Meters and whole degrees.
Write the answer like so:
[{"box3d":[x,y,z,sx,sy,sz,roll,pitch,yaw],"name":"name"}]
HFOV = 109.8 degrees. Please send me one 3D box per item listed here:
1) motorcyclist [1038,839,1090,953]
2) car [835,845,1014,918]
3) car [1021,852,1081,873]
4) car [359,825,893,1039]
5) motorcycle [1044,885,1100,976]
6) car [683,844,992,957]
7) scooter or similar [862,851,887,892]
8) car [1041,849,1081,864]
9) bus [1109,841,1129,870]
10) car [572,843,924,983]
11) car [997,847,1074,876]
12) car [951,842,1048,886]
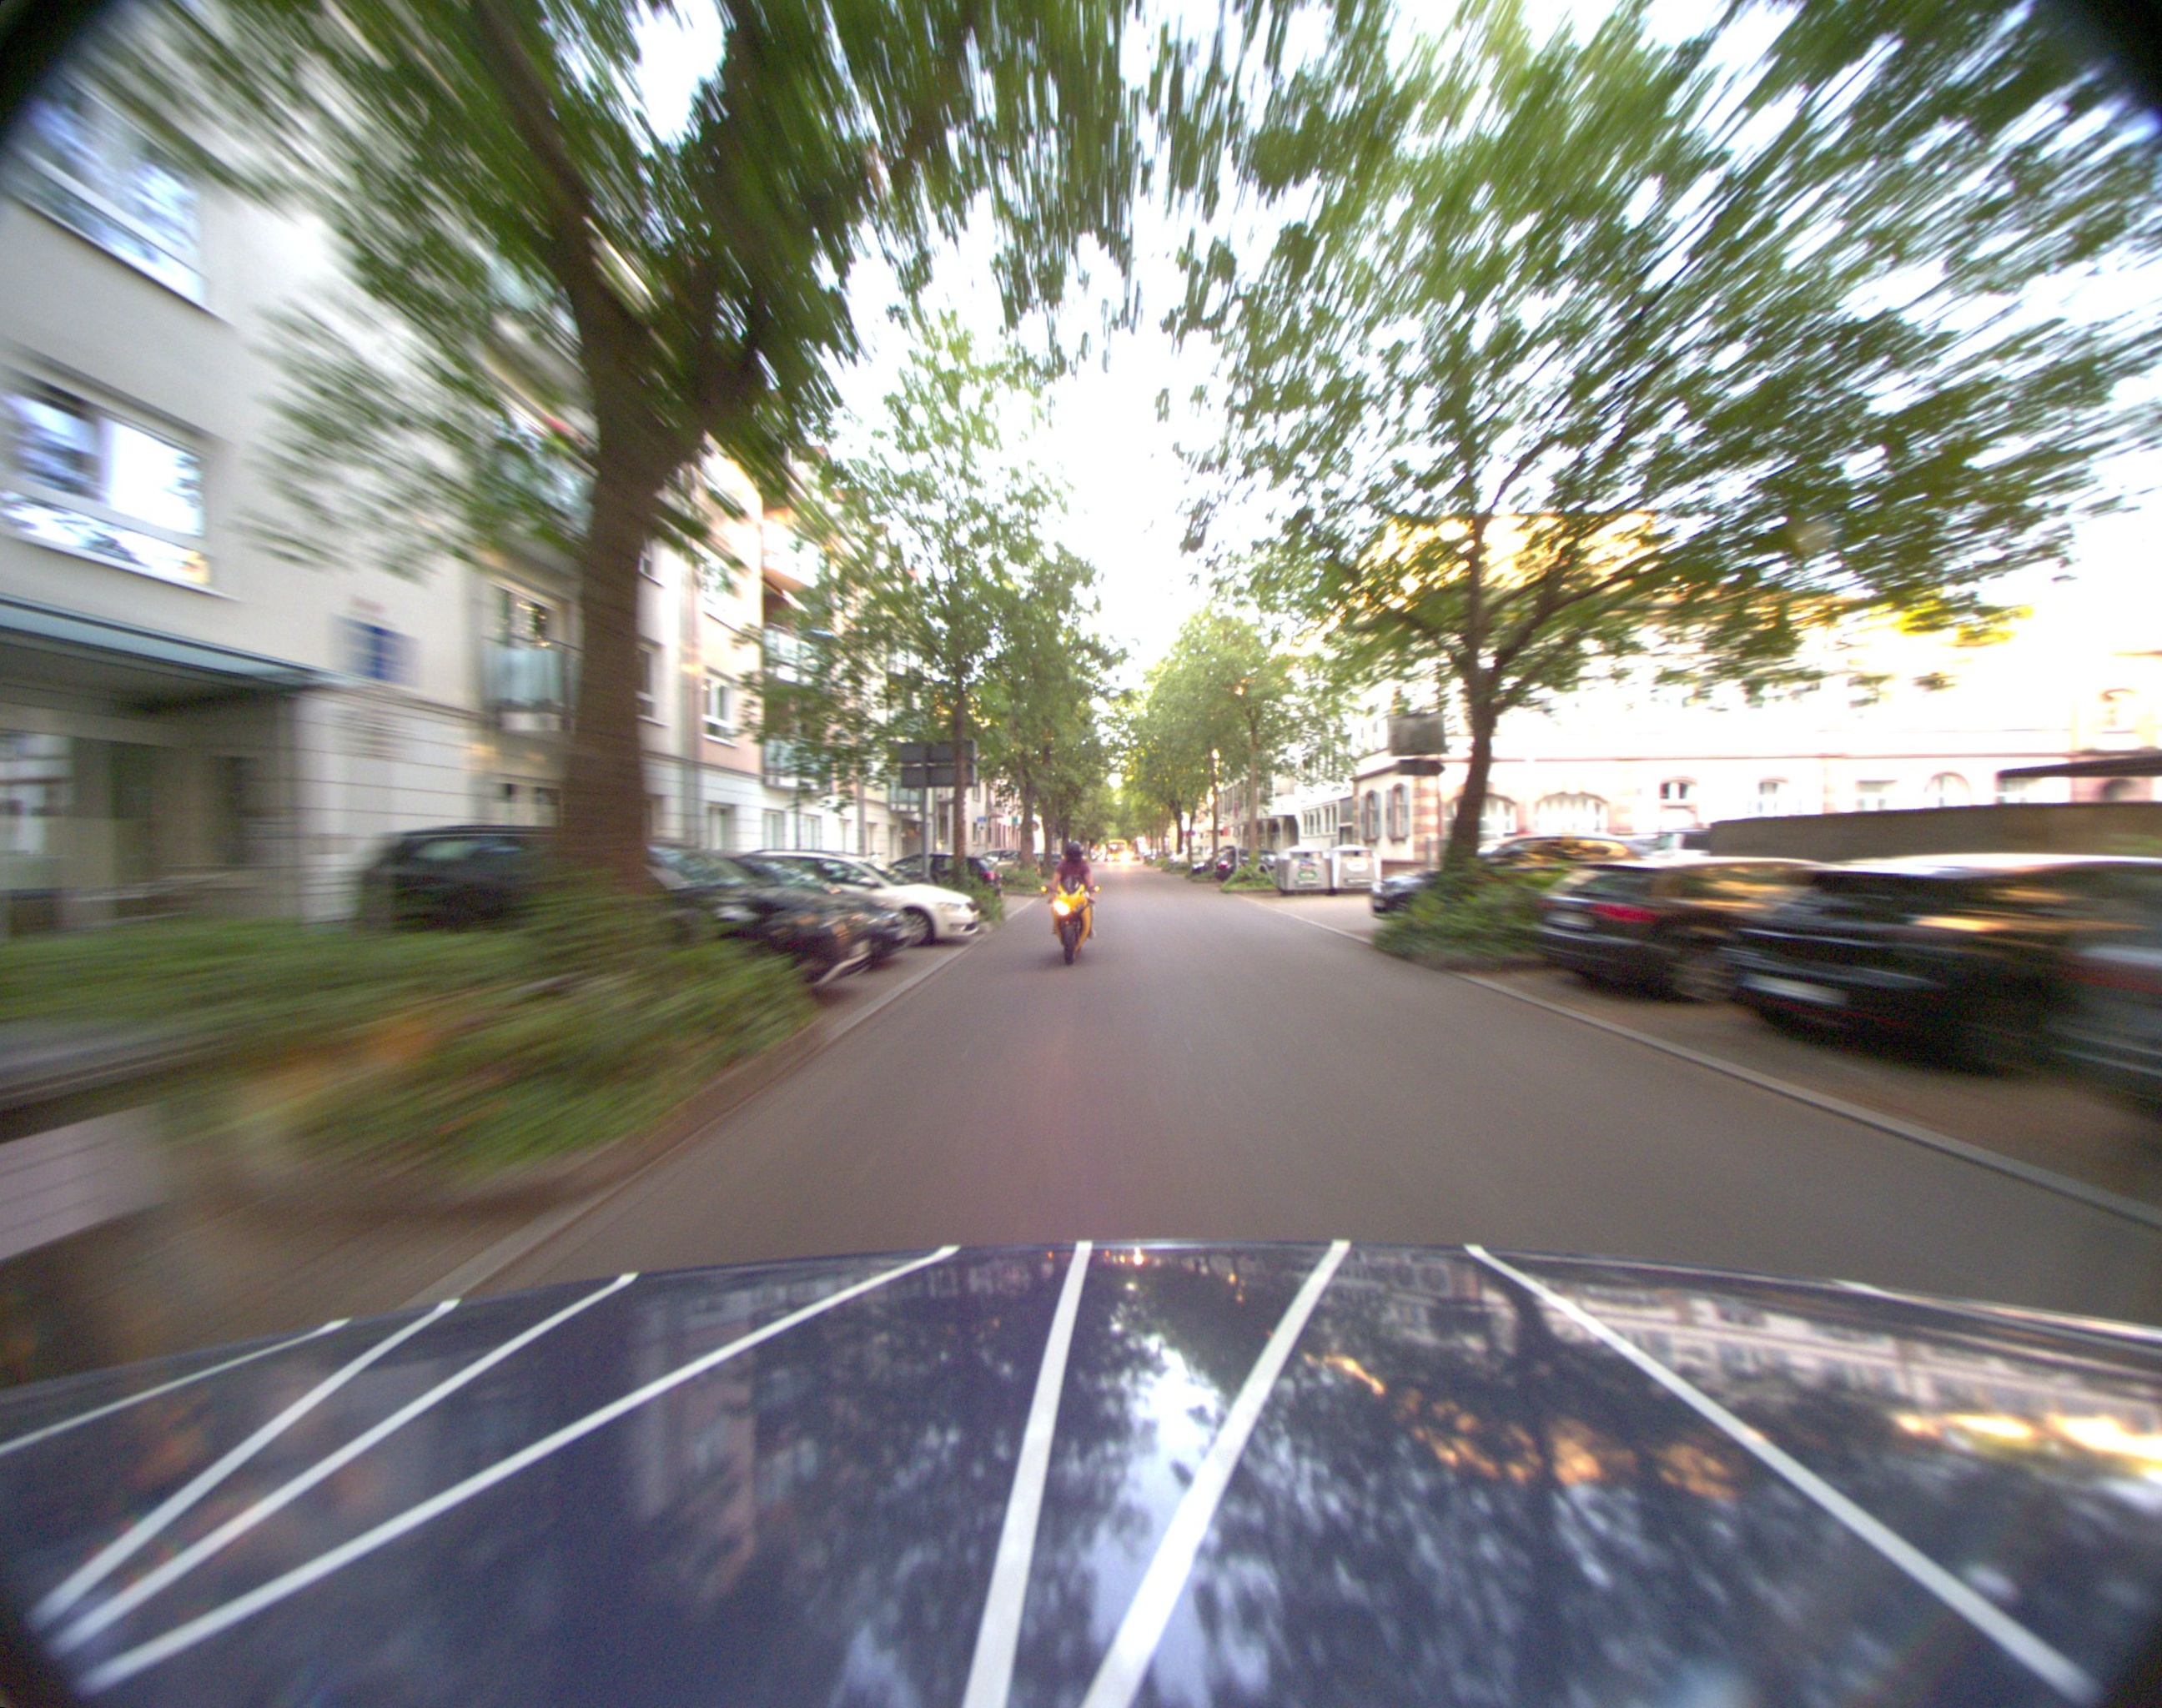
[{"box3d":[-0.241,0.594,11.114,0.722,1.605,0.915,0,0,-1],"name":"motorcyclist"},{"box3d":[-3.775,0.652,18.888,3.998,1.466,1.913,4,0,-2],"name":"car"},{"box3d":[-2.401,0.706,60.958,4.593,1.461,1.696,2,0,3],"name":"car"},{"box3d":[-4.448,0.701,7.901,4.393,1.693,1.896,3,0,3],"name":"car"},{"box3d":[-0.127,1.051,11.078,0.736,1.115,2.108,0,0,-1],"name":"motorcycle"},{"box3d":[-3.969,0.730,12.905,4.583,1.543,1.773,3,0,1],"name":"car"},{"box3d":[-6.380,0.542,23.559,0.400,1.233,1.253,0,0,2],"name":"scooter or similar"},{"box3d":[-1.958,0.235,75.334,3.859,1.390,1.675,2,0,-2],"name":"car"},{"box3d":[5.584,0.251,112.355,2.832,4.085,7.833,1,0,2],"name":"bus"},{"box3d":[-4.398,0.736,10.406,3.995,1.516,1.727,3,0,4],"name":"car"},{"box3d":[-2.733,0.439,46.073,4.366,1.461,1.732,3,0,7],"name":"car"},{"box3d":[-3.477,0.442,32.885,3.871,1.657,1.926,3,0,2],"name":"car"}]
